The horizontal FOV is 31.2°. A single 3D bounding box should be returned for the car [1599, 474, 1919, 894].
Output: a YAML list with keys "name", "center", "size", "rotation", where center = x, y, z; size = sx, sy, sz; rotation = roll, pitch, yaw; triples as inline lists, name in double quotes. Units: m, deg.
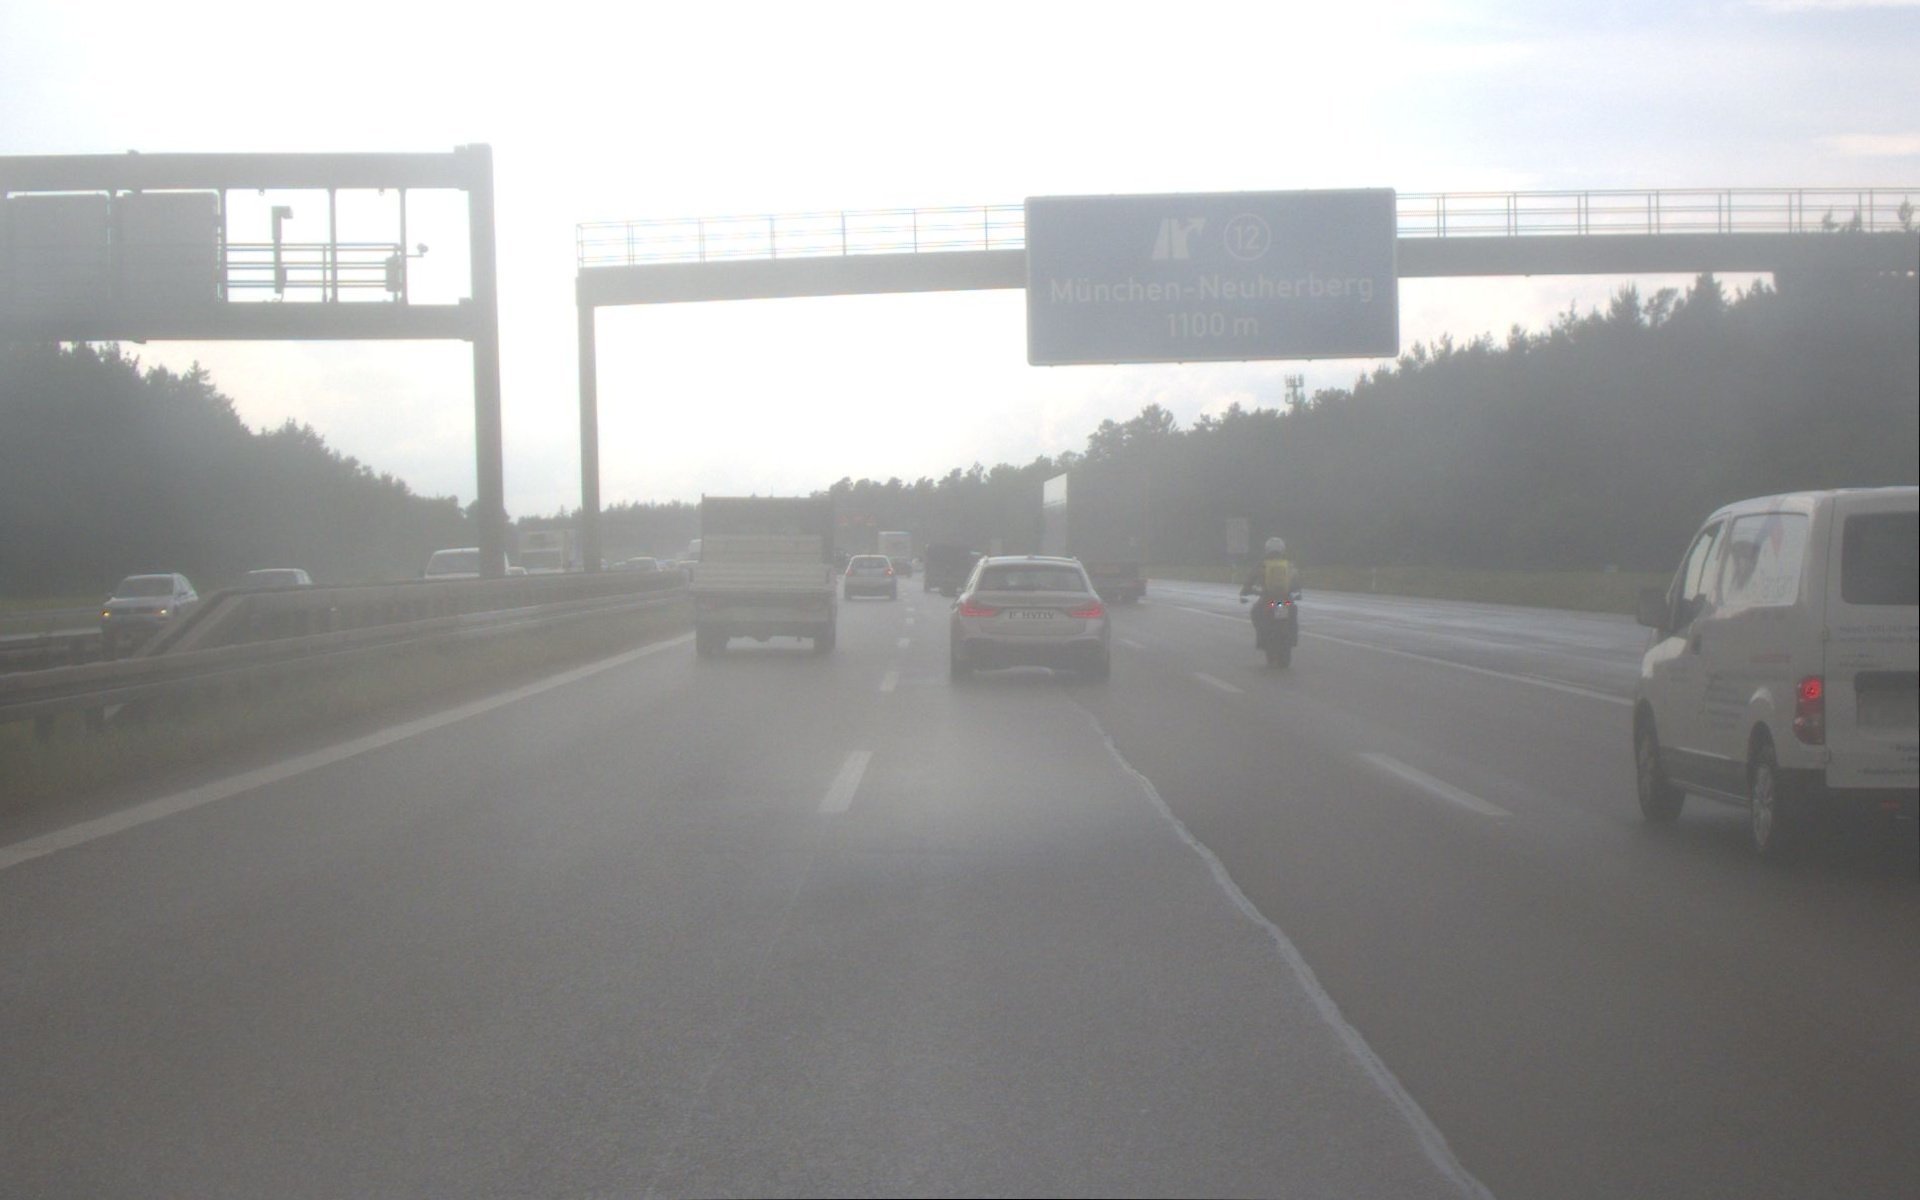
- name: "car"
  center: [4.699, 0.357, 17.961]
  size: [1.964, 1.895, 4.881]
  rotation: [0, 1, 2]

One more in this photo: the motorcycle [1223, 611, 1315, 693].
- name: "motorcycle"
  center: [4.103, 0.678, 45.789]
  size: [1.000, 1.028, 2.174]
  rotation: [0, 0, -1]

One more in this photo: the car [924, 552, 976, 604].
- name: "car"
  center: [-0.411, -0.881, 137.473]
  size: [1.908, 2.007, 4.000]
  rotation: [0, 1, -2]

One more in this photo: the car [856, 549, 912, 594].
- name: "car"
  center: [-2.532, -0.946, 114.926]
  size: [1.831, 1.461, 4.000]
  rotation: [1, 0, -1]

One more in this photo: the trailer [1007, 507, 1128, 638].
- name: "trailer"
  center: [3.401, -0.883, 112.081]
  size: [2.323, 3.988, 13.414]
  rotation: [0, 0, -5]

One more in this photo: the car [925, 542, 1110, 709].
- name: "car"
  center: [0.733, 0.279, 41.399]
  size: [2.078, 1.878, 5.011]
  rotation: [0, 0, 2]

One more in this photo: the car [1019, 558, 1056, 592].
- name: "car"
  center: [4.636, -1.497, 206.424]
  size: [1.993, 2.007, 4.000]
  rotation: [1, 0, -2]

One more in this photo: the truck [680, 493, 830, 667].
- name: "truck"
  center: [-3.059, -0.306, 51.913]
  size: [2.137, 2.480, 5.313]
  rotation: [0, 0, -3]

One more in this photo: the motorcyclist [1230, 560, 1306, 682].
- name: "motorcyclist"
  center: [4.098, 0.272, 45.801]
  size: [0.891, 1.609, 0.959]
  rotation: [0, 0, -1]

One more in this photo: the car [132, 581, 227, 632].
- name: "car"
  center: [-19.865, 0.160, 87.576]
  size: [1.625, 1.253, 3.842]
  rotation: [0, 1, -1]
